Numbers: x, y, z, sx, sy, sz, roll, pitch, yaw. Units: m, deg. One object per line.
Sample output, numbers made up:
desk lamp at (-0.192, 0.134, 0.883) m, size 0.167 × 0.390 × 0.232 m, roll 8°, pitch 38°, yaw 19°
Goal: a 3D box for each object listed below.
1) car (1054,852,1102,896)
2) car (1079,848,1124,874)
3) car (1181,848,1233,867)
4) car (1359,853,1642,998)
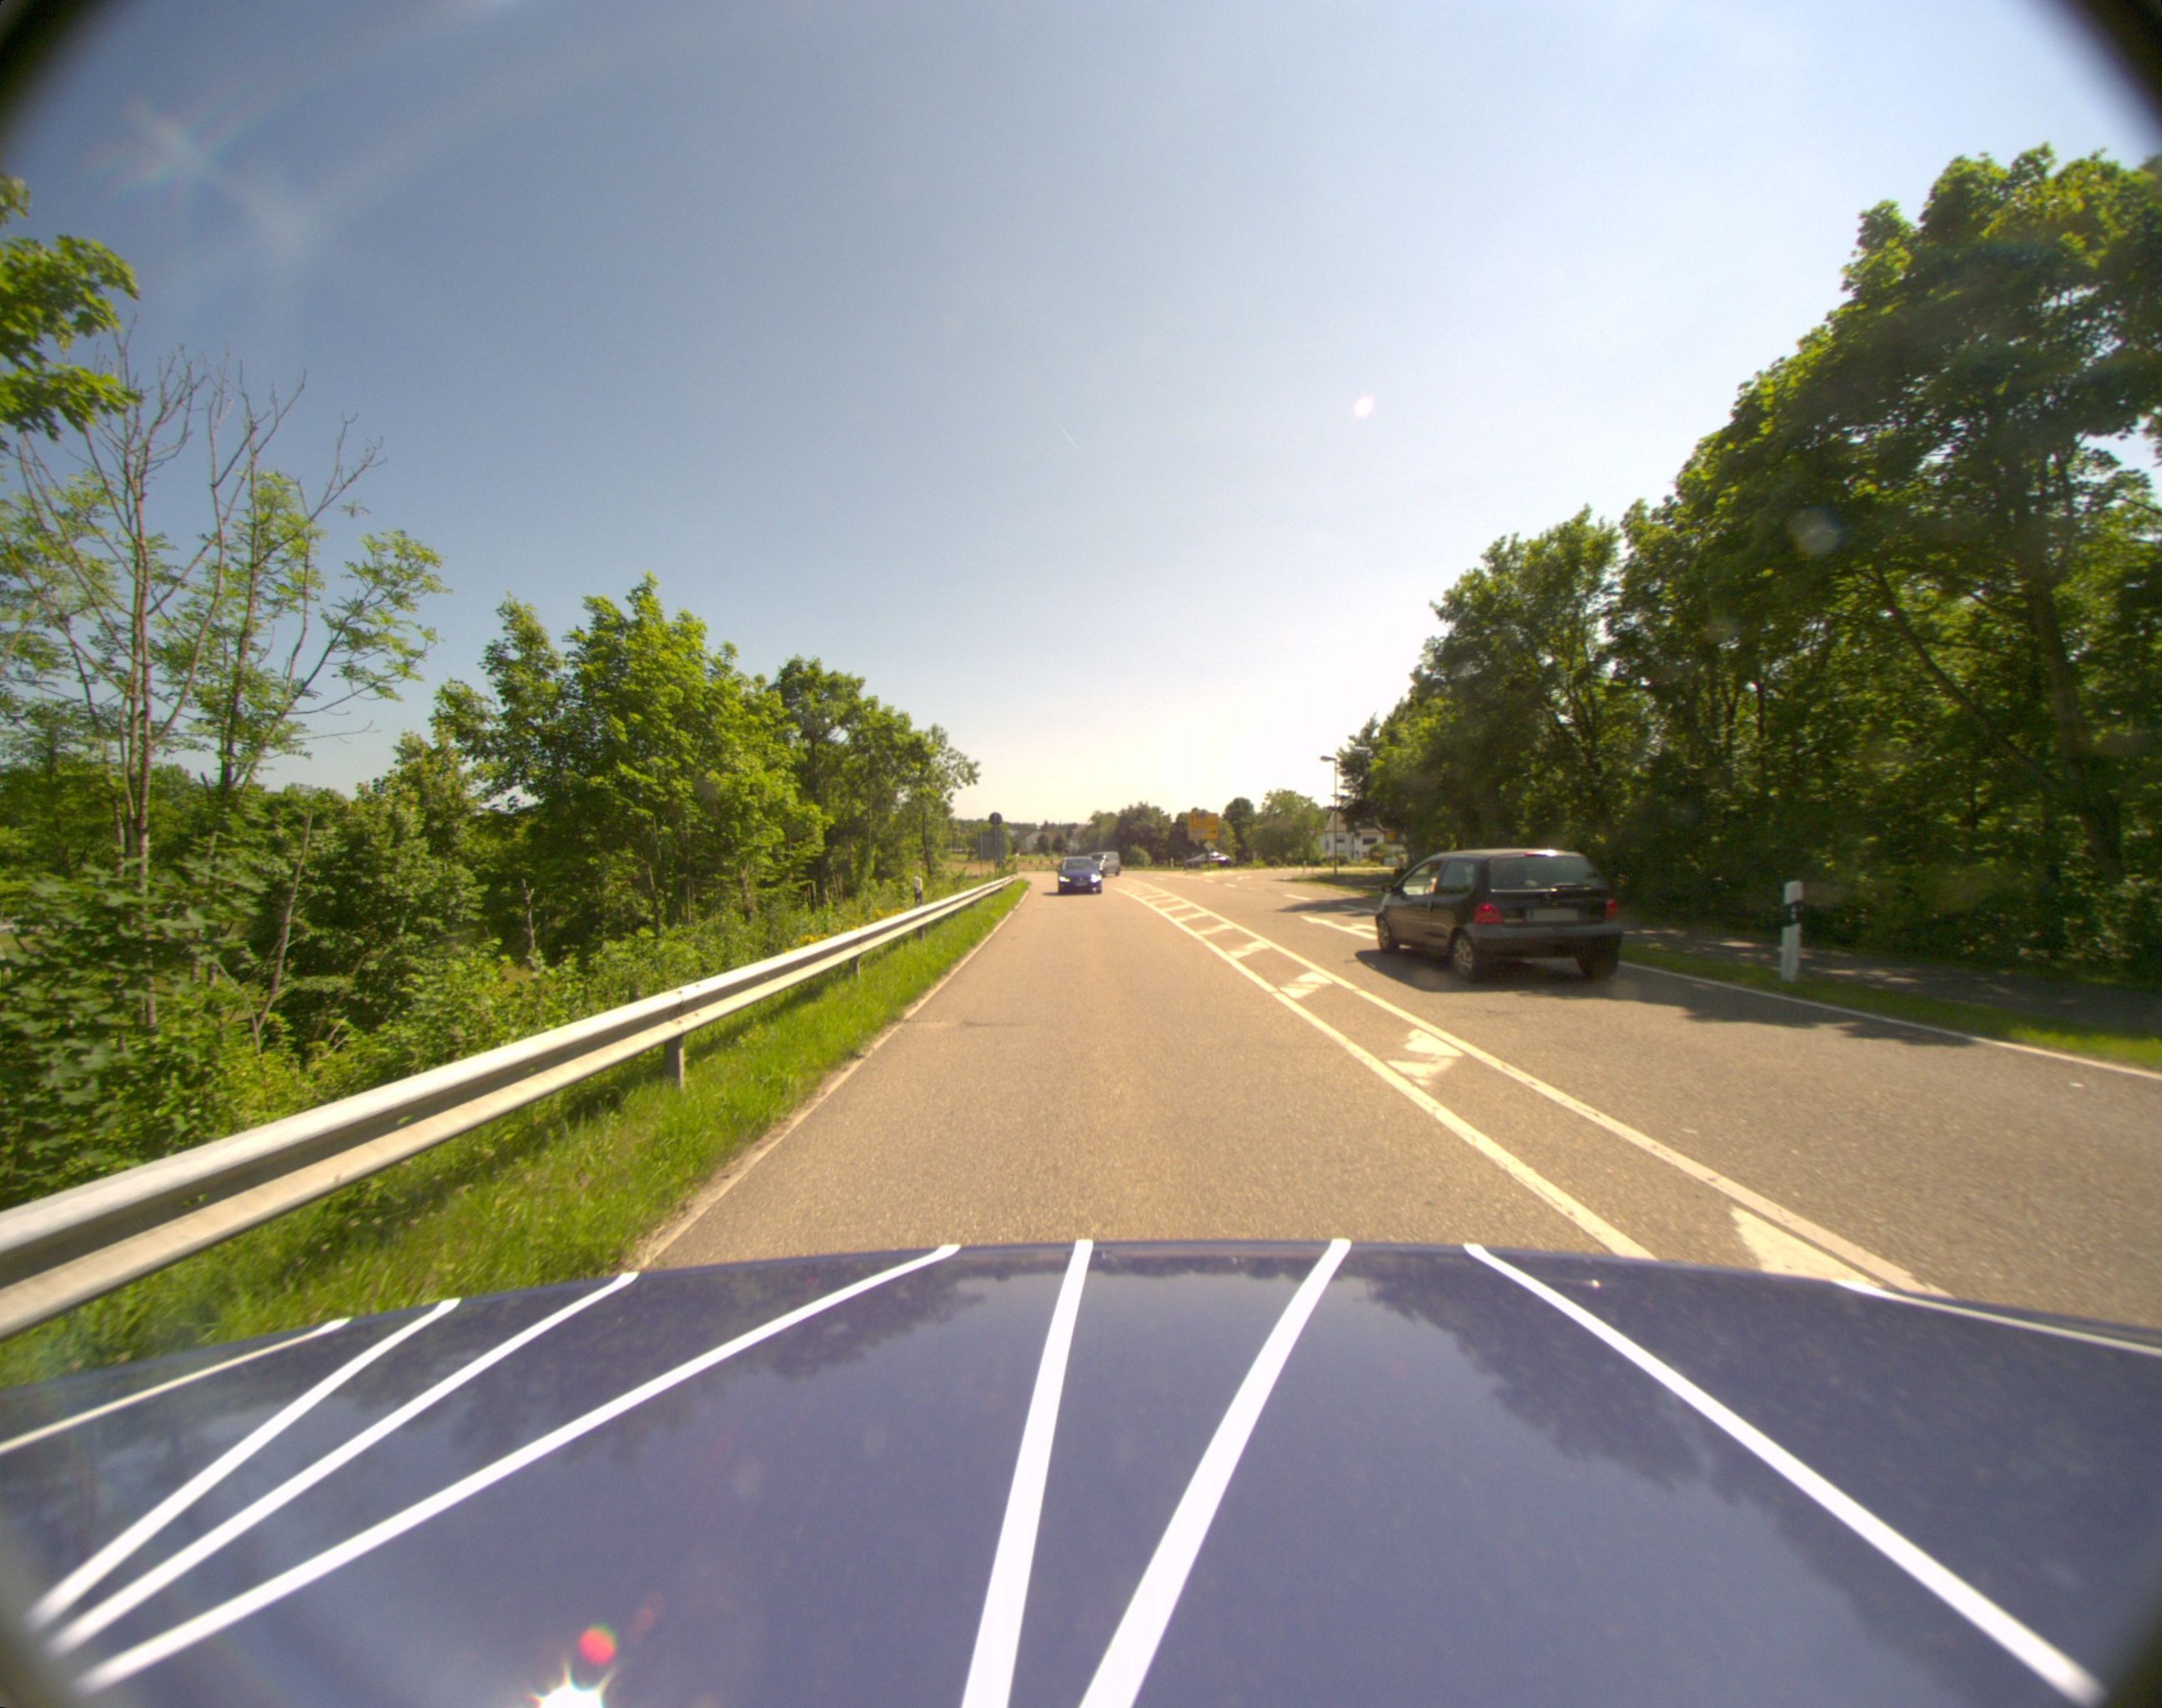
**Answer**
car at (-0.109, 0.808, 32.406) m, size 1.828 × 1.592 × 4.195 m, roll -4°, pitch 1°, yaw 0°
car at (1.713, 0.536, 60.764) m, size 1.995 × 2.001 × 4.773 m, roll -1°, pitch -1°, yaw 22°
car at (11.705, 0.304, 70.642) m, size 4.380 × 1.635 × 1.747 m, roll -1°, pitch -2°, yaw -21°
car at (4.898, 0.726, 9.438) m, size 1.631 × 1.396 × 3.432 m, roll -2°, pitch 1°, yaw 1°
